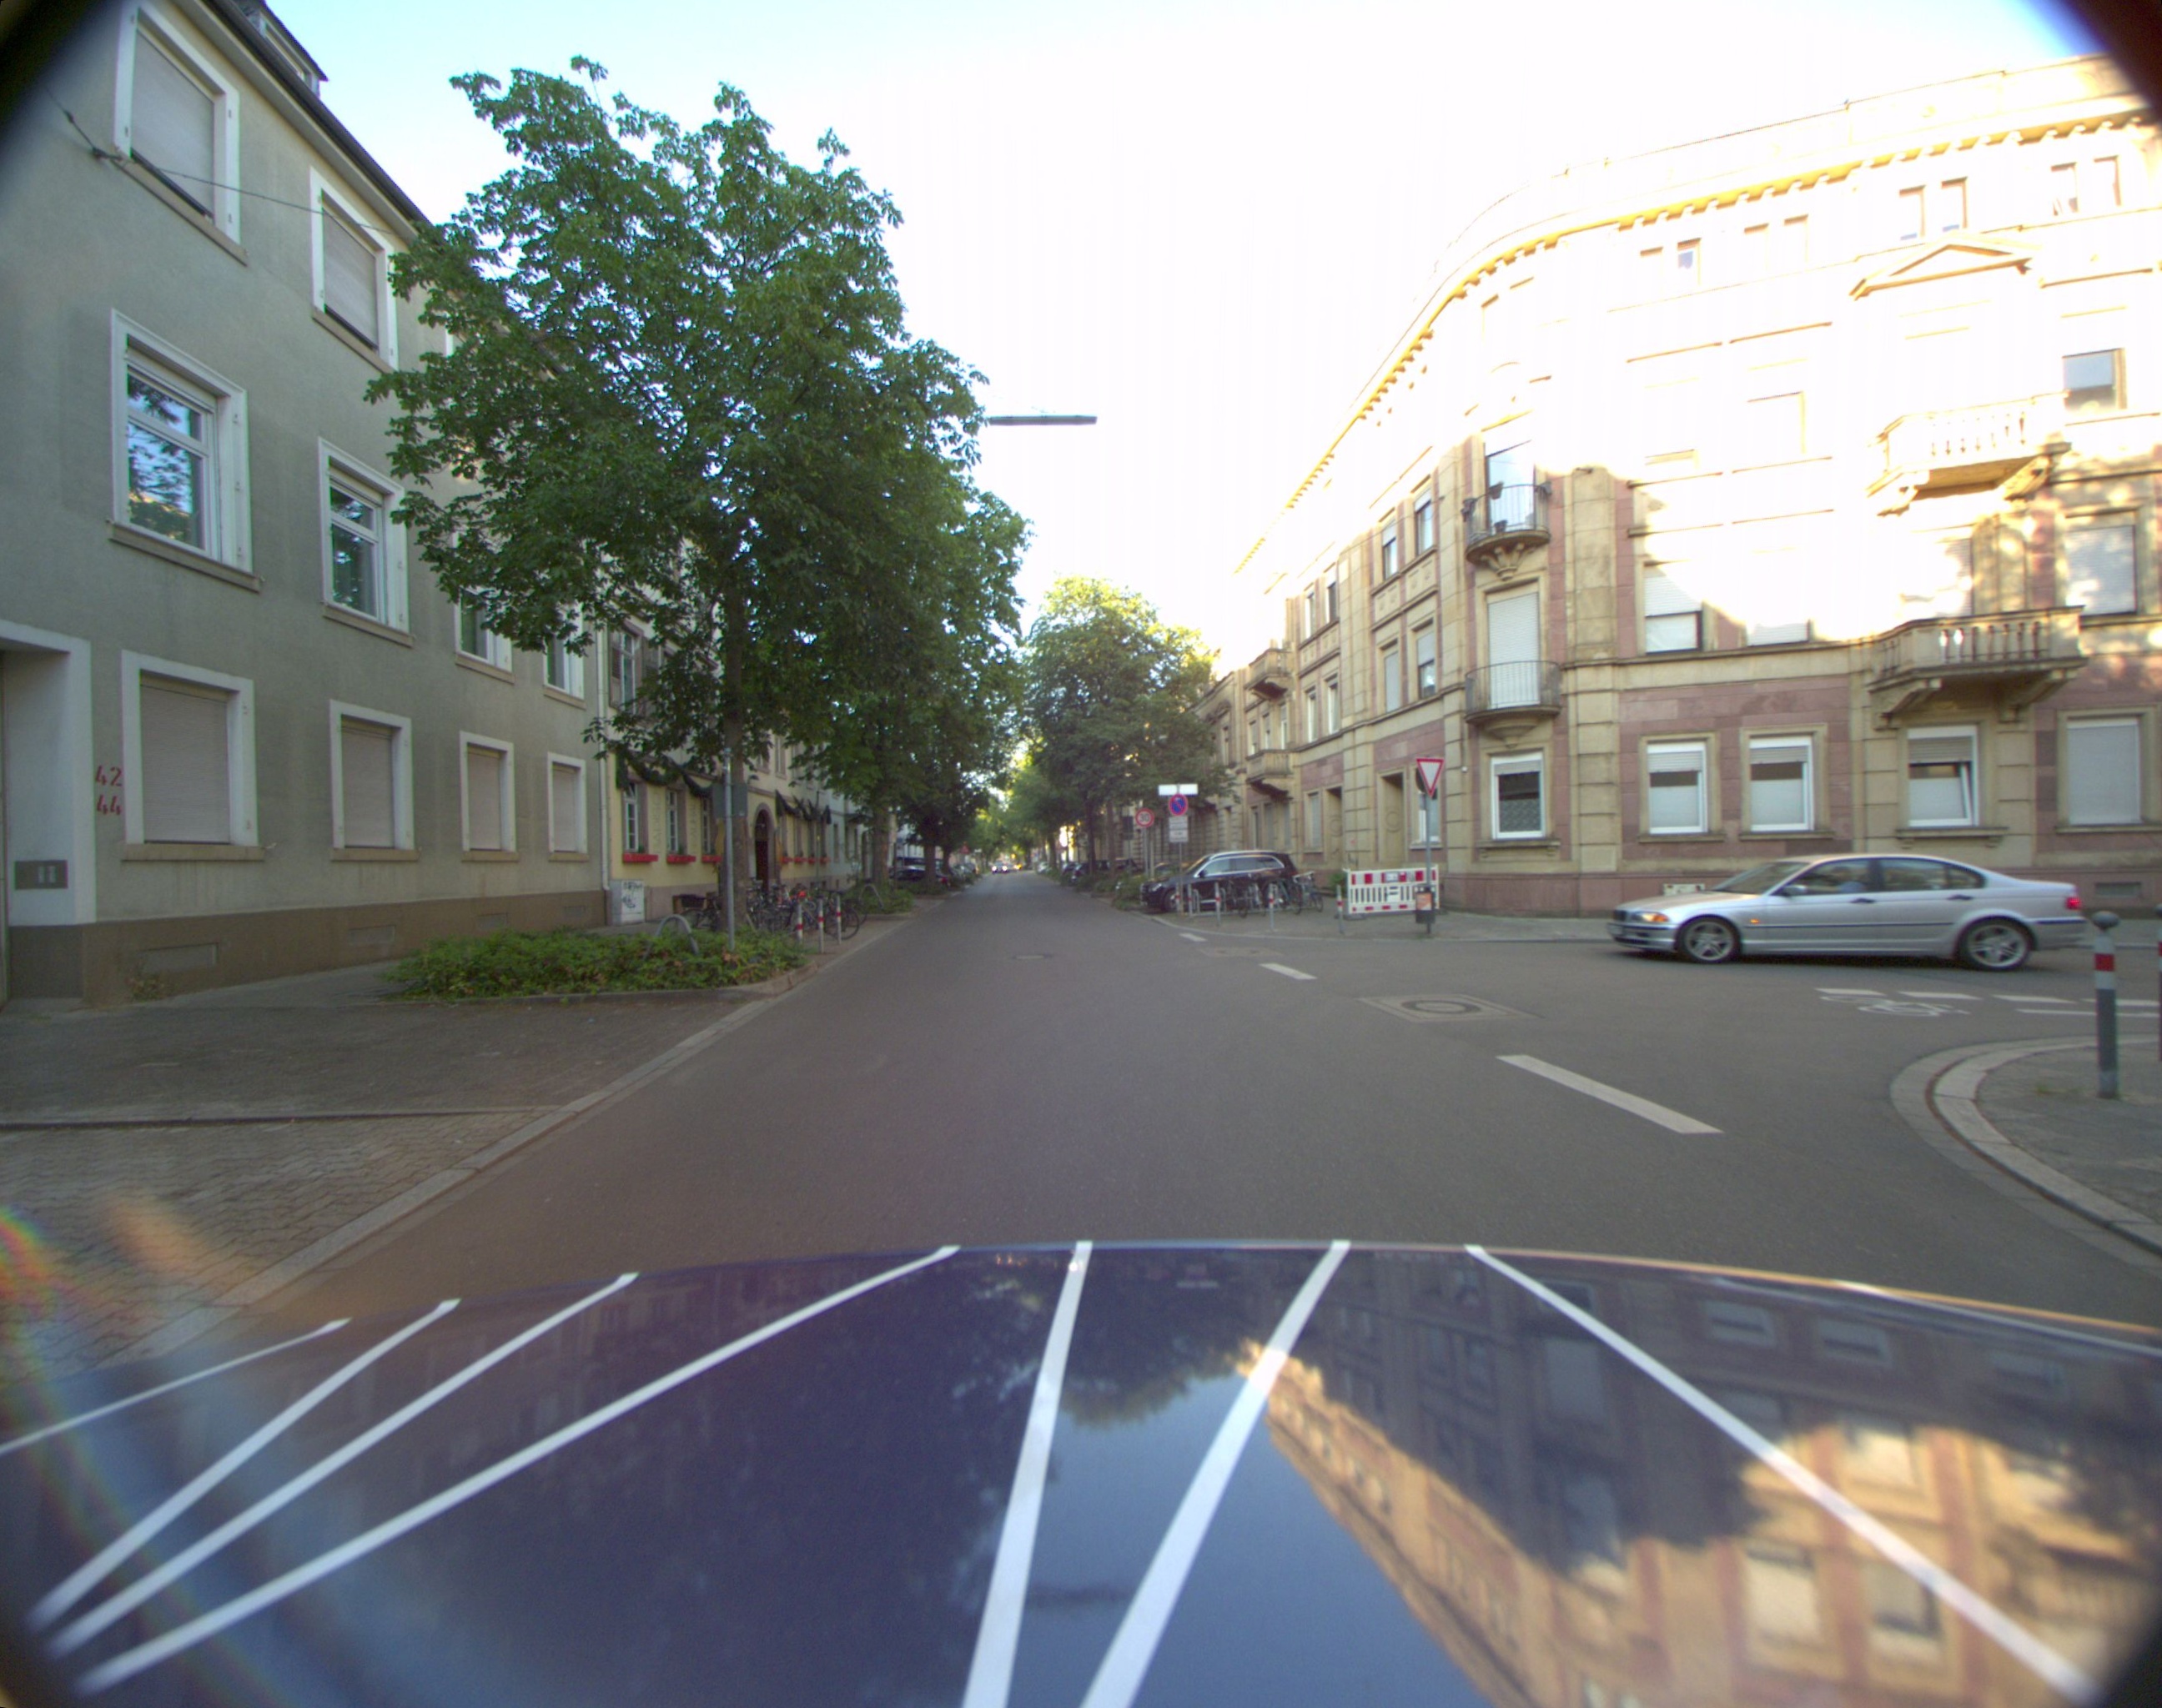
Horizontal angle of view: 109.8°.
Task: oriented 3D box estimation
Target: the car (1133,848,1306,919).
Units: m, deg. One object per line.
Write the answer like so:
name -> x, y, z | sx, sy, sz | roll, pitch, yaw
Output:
car -> 3.933, 0.803, 22.009 | 4.590, 1.728, 1.775 | -3, 1, -4

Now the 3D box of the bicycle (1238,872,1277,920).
bicycle -> 4.446, 1.042, 19.239 | 0.364, 1.083, 1.869 | -3, 1, -5

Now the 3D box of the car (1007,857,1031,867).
car -> -9.912, 1.345, 122.018 | 1.772, 1.523, 4.029 | -1, 0, 34

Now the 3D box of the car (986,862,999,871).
car -> -13.005, 1.821, 111.824 | 1.828, 1.364, 3.998 | -1, 0, -5

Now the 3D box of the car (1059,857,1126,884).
car -> 0.765, 1.137, 52.798 | 4.444, 1.728, 1.776 | -1, 0, -4

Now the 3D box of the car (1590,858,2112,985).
car -> 9.474, 0.807, 9.844 | 4.462, 1.395, 1.685 | -1, -2, 17

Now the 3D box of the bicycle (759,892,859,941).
bicycle -> -6.065, 1.383, 16.980 | 2.042, 0.998, 0.421 | -1, 0, -6

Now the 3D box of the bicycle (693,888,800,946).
bicycle -> -7.115, 1.329, 16.210 | 2.042, 1.139, 0.421 | -1, 0, -6

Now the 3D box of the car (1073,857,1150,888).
car -> 1.805, 1.100, 45.838 | 4.444, 1.728, 1.776 | -1, 0, -4

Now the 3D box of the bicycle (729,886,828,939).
bicycle -> -6.916, 1.329, 17.441 | 2.042, 1.139, 0.421 | -1, 0, -6

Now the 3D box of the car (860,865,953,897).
car -> -8.912, 1.354, 39.111 | 4.444, 1.496, 1.776 | -1, 0, -4

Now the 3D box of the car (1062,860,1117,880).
car -> 0.625, 1.230, 58.448 | 4.032, 1.474, 1.776 | -1, 0, -4

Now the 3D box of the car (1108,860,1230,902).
car -> 3.380, 1.035, 29.697 | 4.444, 1.478, 1.776 | -1, 0, -4

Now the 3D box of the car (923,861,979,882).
car -> -11.022, 1.491, 64.697 | 4.444, 1.603, 1.776 | -1, 0, -4

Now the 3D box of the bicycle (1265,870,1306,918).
bicycle -> 5.150, 0.990, 19.230 | 0.364, 1.083, 1.869 | -3, 1, -5

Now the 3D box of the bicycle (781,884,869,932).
bicycle -> -6.474, 1.363, 19.247 | 2.042, 1.139, 0.421 | -1, 0, -6

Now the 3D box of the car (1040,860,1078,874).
car -> -2.666, 1.540, 91.055 | 4.444, 1.638, 1.776 | -1, 0, -4

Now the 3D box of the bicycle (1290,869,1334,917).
bicycle -> 5.797, 0.954, 19.186 | 0.364, 1.083, 1.869 | -3, 1, -5

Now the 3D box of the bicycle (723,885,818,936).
bicycle -> -7.371, 1.344, 18.101 | 2.042, 1.139, 0.421 | -1, 0, -6

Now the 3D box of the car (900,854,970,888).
car -> -9.812, 1.144, 51.420 | 4.444, 2.110, 1.776 | -1, 0, -4

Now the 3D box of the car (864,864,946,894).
car -> -10.261, 1.434, 44.540 | 4.444, 1.603, 1.776 | -1, 0, -4

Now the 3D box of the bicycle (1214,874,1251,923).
bicycle -> 3.784, 1.082, 19.035 | 0.364, 1.083, 1.869 | -3, 1, -5

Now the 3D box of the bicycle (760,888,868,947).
bicycle -> -5.536, 1.311, 15.810 | 2.041, 1.139, 0.446 | -1, 0, -4

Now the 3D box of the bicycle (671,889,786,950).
bicycle -> -7.040, 1.303, 15.221 | 2.041, 1.139, 0.446 | -1, 0, -2

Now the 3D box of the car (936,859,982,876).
car -> -12.318, 1.408, 77.169 | 4.444, 1.603, 1.776 | -1, 0, -4
